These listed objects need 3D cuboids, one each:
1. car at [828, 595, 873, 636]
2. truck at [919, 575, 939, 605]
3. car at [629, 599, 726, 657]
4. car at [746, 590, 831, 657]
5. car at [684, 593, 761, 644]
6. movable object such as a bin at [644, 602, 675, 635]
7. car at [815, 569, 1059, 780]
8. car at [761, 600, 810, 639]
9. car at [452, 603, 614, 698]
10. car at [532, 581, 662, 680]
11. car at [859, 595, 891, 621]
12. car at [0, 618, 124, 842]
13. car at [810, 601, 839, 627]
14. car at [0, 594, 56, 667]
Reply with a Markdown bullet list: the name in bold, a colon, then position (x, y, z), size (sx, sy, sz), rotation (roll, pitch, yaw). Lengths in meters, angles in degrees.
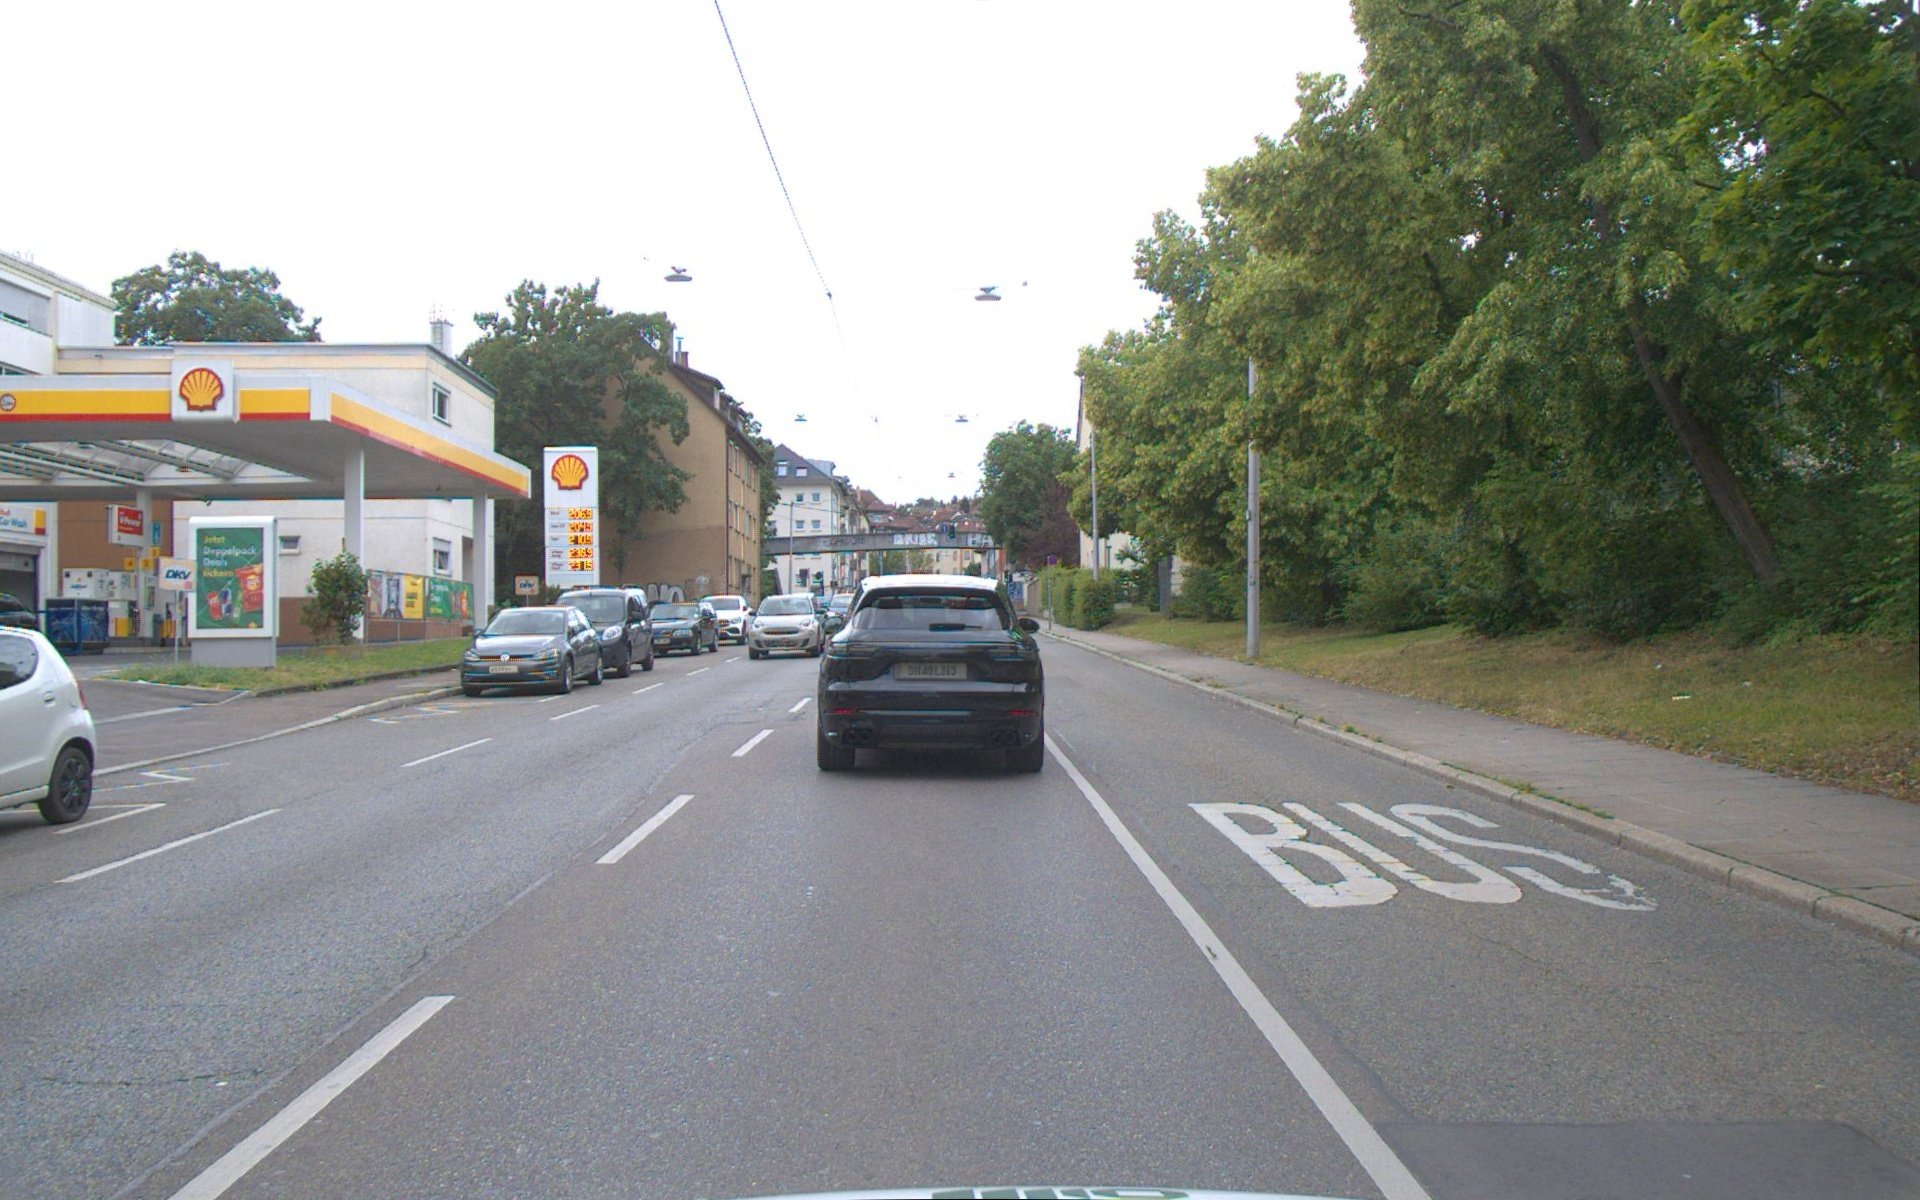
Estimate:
- **car**: position (-4.404, 0.609, 67.077), size (1.649, 1.582, 3.717), rotation (-2, 0, -2)
- **truck**: position (-3.684, -1.117, 195.033), size (2.221, 3.484, 9.875), rotation (-1, 0, -1)
- **car**: position (-7.780, 0.728, 45.968), size (1.760, 1.456, 4.744), rotation (-2, 0, 1)
- **car**: position (-4.331, 0.567, 42.196), size (1.761, 1.551, 3.999), rotation (-2, 0, -1)
- **car**: position (-7.843, 0.589, 55.029), size (1.876, 1.605, 4.699), rotation (-1, 0, 0)
- **movable object such as a bin**: position (-13.513, 0.828, 74.324), size (1.256, 1.453, 1.278), rotation (0, 0, -5)
- **car**: position (-0.202, 0.574, 15.244), size (1.953, 1.691, 4.000), rotation (0, 1, -1)
- **car**: position (-8.042, 0.887, 76.630), size (1.746, 1.637, 4.264), rotation (-3, 0, 0)
- **car**: position (-7.369, 0.822, 28.917), size (1.754, 1.475, 4.217), rotation (-2, 0, -1)
- **car**: position (-7.458, 0.586, 34.415), size (1.814, 1.867, 4.699), rotation (-2, 0, -3)
- **car**: position (-5.105, 0.461, 99.642), size (1.741, 1.492, 4.498), rotation (-1, 0, 0)
- **car**: position (-7.174, 0.897, 10.782), size (1.586, 1.450, 3.664), rotation (-1, 0, -1)
- **car**: position (-8.749, 0.911, 107.143), size (1.711, 1.596, 3.906), rotation (-2, 0, -3)
- **car**: position (-19.925, 0.598, 32.653), size (1.761, 1.445, 4.416), rotation (0, 0, -1)
